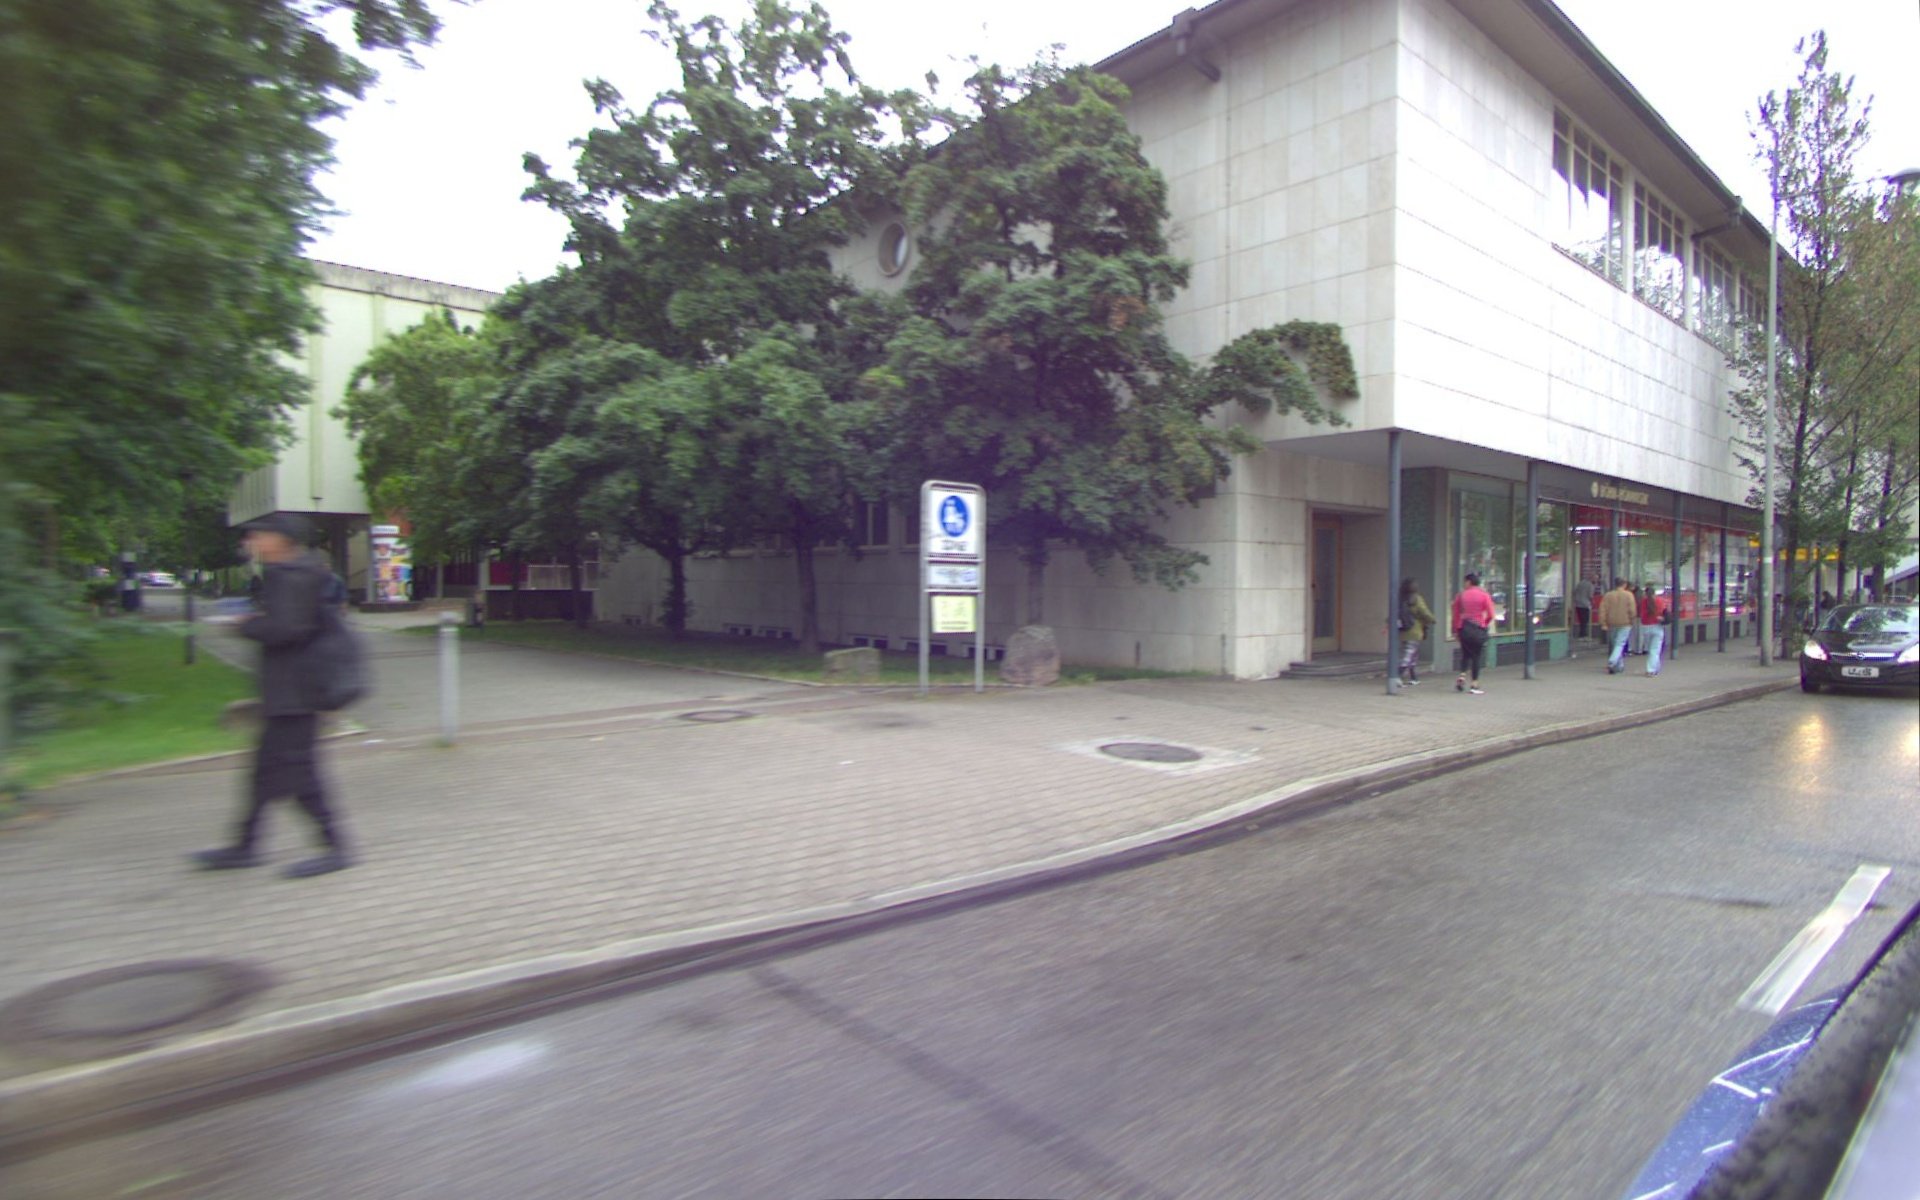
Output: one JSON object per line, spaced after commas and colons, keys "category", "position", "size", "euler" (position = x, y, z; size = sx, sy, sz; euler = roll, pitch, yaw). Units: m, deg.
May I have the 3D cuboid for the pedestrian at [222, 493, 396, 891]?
{"category": "pedestrian", "position": [-3.034, 0.382, 4.710], "size": [0.553, 1.685, 0.641], "euler": [2, 1, -41]}

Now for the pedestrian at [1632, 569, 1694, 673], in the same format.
{"category": "pedestrian", "position": [12.572, 0.349, 18.103], "size": [0.907, 1.789, 0.655], "euler": [0, 2, -41]}

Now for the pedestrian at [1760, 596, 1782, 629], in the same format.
{"category": "pedestrian", "position": [28.791, 0.443, 35.929], "size": [0.424, 1.150, 0.507], "euler": [1, 1, 14]}

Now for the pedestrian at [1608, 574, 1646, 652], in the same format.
{"category": "pedestrian", "position": [15.258, 0.284, 23.155], "size": [0.524, 1.740, 0.538], "euler": [0, 1, -32]}

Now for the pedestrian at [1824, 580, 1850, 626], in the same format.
{"category": "pedestrian", "position": [31.222, 0.103, 36.021], "size": [0.499, 1.586, 0.431], "euler": [1, 1, -3]}

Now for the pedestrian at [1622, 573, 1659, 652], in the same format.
{"category": "pedestrian", "position": [15.967, 0.284, 23.743], "size": [0.524, 1.842, 0.538], "euler": [0, 1, -32]}

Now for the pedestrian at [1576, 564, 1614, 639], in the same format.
{"category": "pedestrian", "position": [15.018, 0.036, 23.938], "size": [0.524, 1.740, 0.539], "euler": [0, 1, -30]}

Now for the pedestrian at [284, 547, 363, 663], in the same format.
{"category": "pedestrian", "position": [-11.757, 0.092, 18.694], "size": [1.004, 2.039, 1.115], "euler": [-3, 0, -40]}

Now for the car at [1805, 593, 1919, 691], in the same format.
{"category": "car", "position": [15.496, 0.639, 16.725], "size": [3.675, 1.475, 1.712], "euler": [1, 0, -39]}

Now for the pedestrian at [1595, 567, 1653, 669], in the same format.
{"category": "pedestrian", "position": [12.219, 0.318, 18.624], "size": [0.596, 1.824, 0.699], "euler": [0, 2, -41]}

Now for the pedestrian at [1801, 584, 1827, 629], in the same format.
{"category": "pedestrian", "position": [30.493, 0.229, 36.136], "size": [0.501, 1.586, 0.430], "euler": [1, 1, 6]}

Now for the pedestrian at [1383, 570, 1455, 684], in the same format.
{"category": "pedestrian", "position": [6.731, 0.373, 14.849], "size": [0.596, 1.609, 0.727], "euler": [0, 2, -41]}

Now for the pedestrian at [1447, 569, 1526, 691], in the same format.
{"category": "pedestrian", "position": [7.396, 0.399, 14.218], "size": [0.756, 1.640, 0.718], "euler": [0, 2, -41]}
